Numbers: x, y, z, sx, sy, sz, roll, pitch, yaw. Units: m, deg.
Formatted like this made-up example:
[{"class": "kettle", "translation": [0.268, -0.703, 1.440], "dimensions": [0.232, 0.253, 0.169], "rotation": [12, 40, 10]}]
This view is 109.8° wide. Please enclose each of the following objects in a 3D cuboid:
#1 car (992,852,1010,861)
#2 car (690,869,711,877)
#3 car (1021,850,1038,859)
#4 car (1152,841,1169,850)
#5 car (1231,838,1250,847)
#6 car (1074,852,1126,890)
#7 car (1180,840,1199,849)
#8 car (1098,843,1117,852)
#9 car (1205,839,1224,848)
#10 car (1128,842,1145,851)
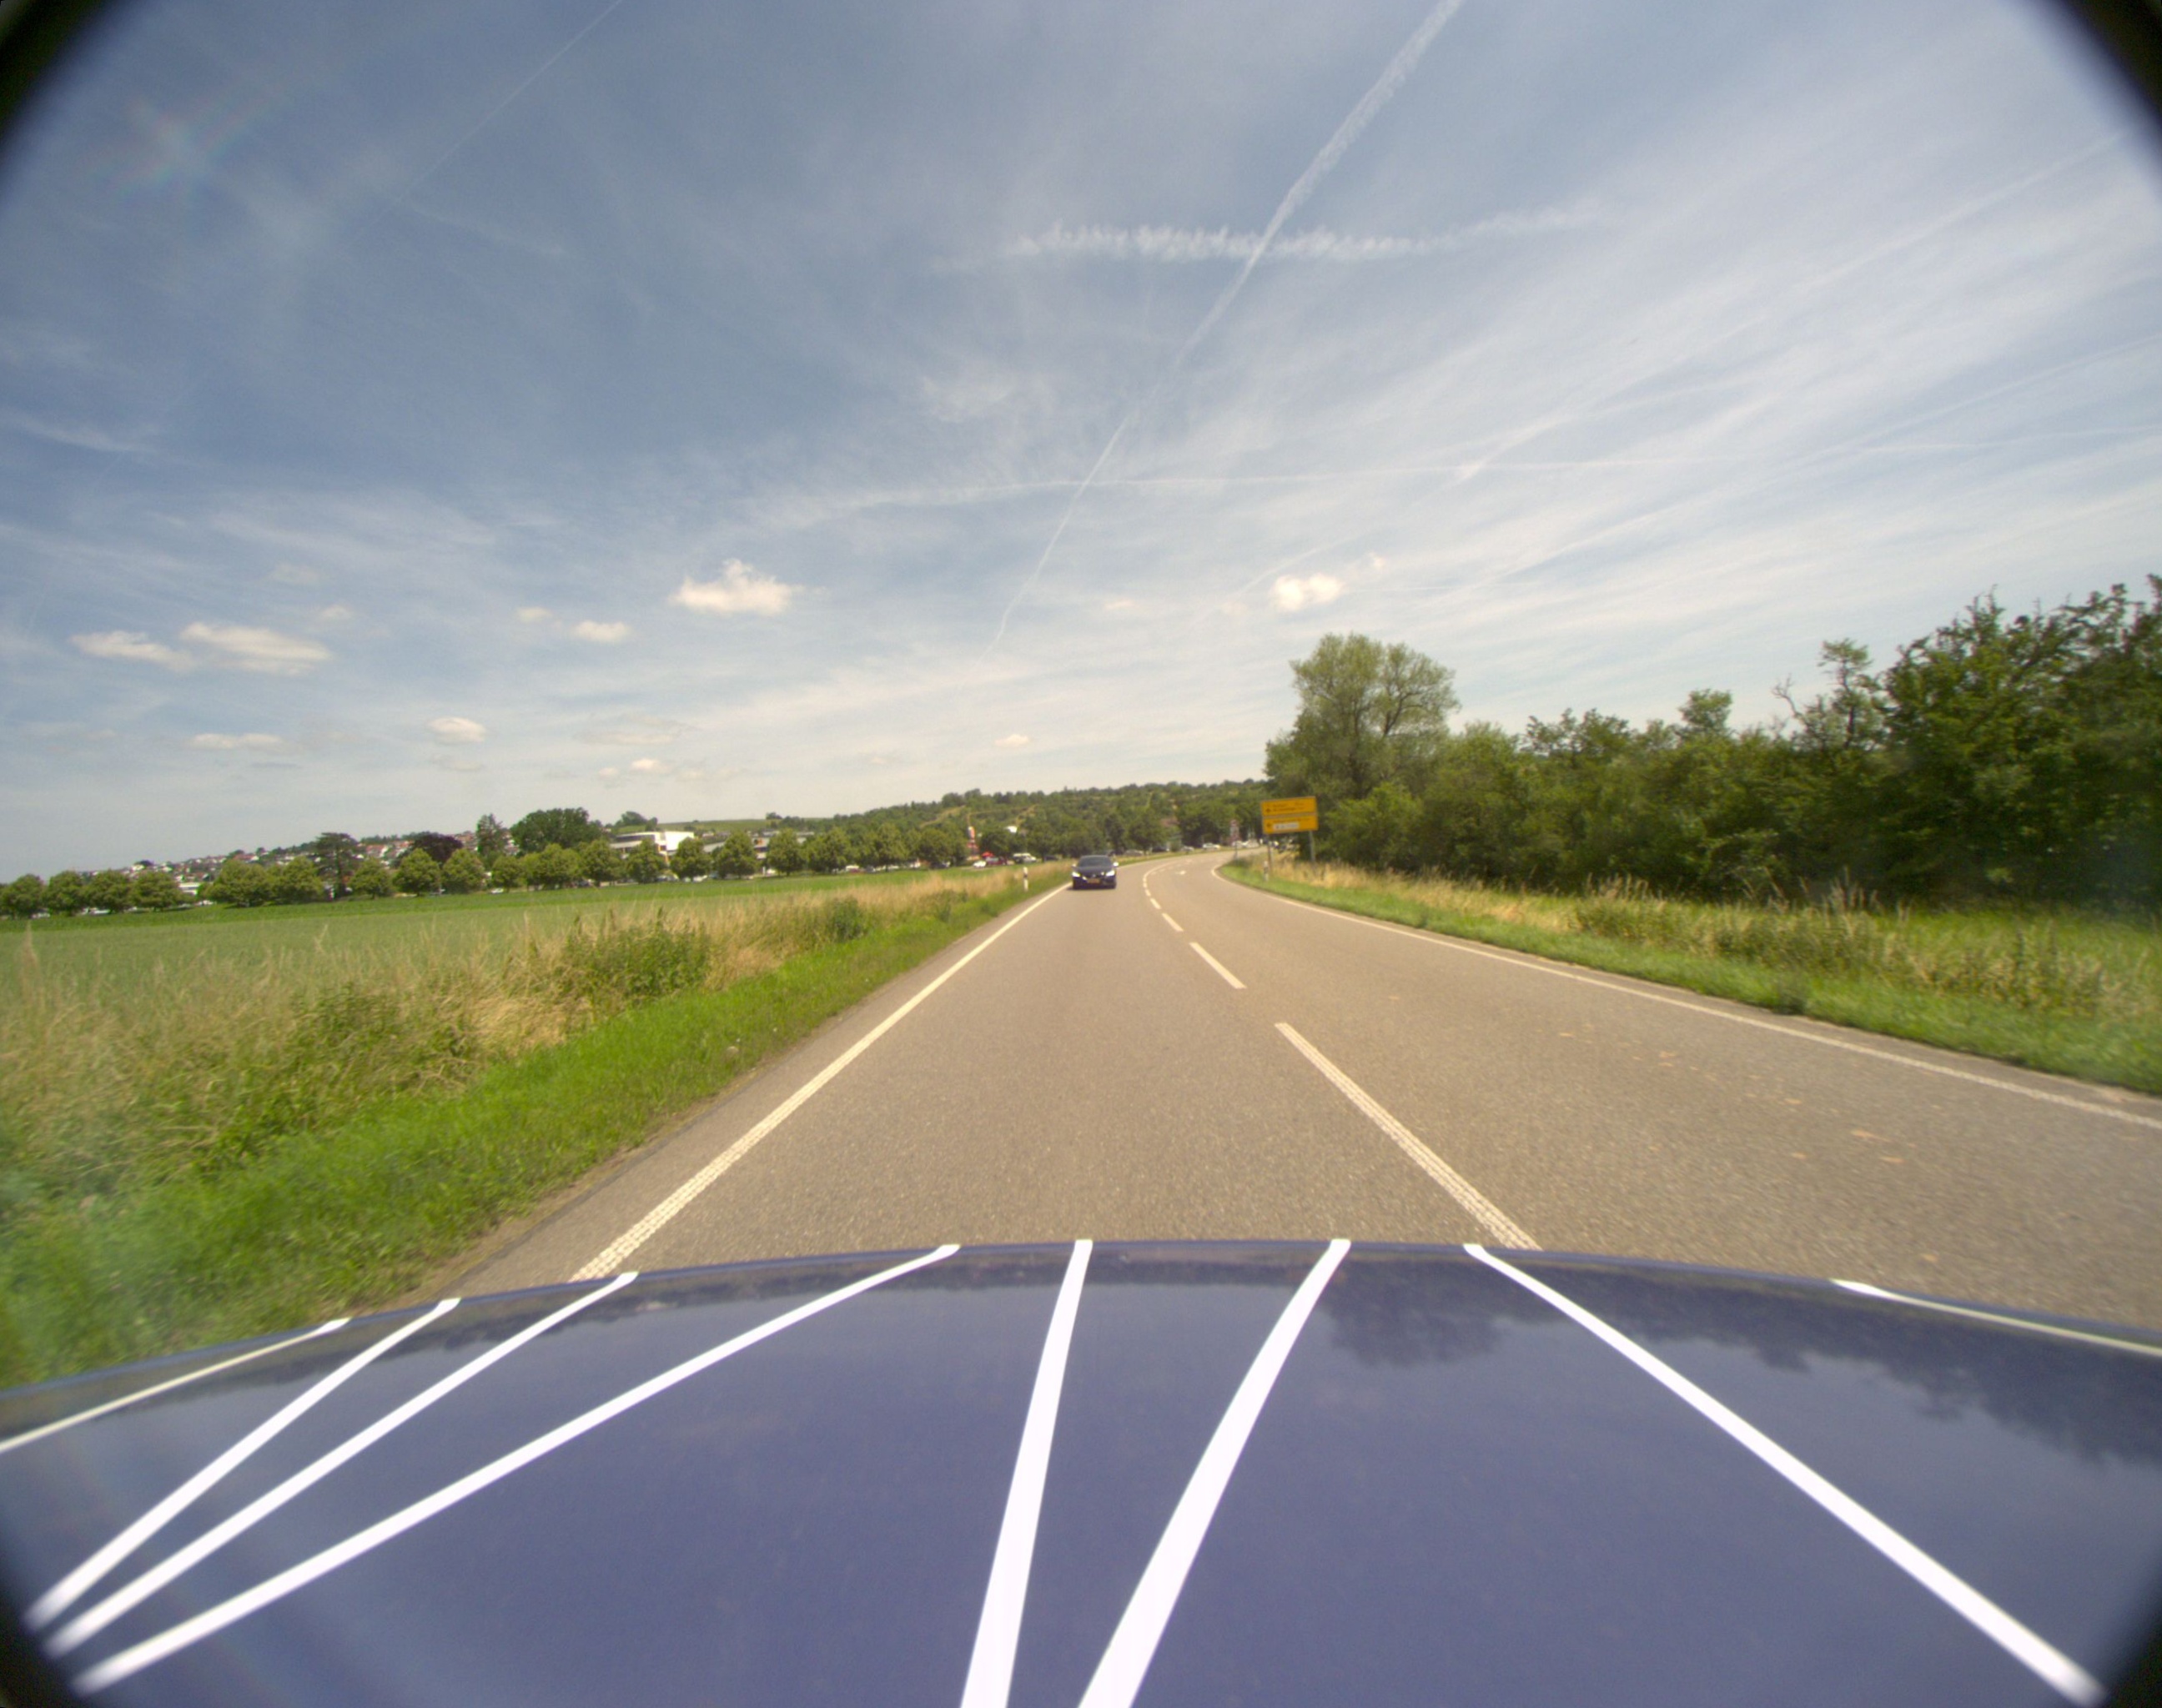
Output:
[{"class": "car", "translation": [-19.980, 0.576, 189.747], "dimensions": [4.469, 2.002, 1.887], "rotation": [-2, 1, -4]}, {"class": "car", "translation": [-99.315, 4.926, 198.145], "dimensions": [4.468, 2.002, 1.887], "rotation": [-2, 1, 0]}, {"class": "car", "translation": [-12.858, 0.120, 189.768], "dimensions": [3.998, 2.002, 1.887], "rotation": [-2, 1, -2]}, {"class": "car", "translation": [19.559, -2.037, 186.199], "dimensions": [3.994, 2.002, 1.888], "rotation": [-2, 1, 8]}, {"class": "car", "translation": [37.290, -2.598, 177.459], "dimensions": [3.989, 2.002, 1.891], "rotation": [-1, 1, 30]}, {"class": "car", "translation": [0.884, 0.667, 32.888], "dimensions": [1.784, 1.440, 4.606], "rotation": [-2, 1, 7]}, {"class": "car", "translation": [26.205, -2.267, 183.544], "dimensions": [3.990, 2.002, 1.891], "rotation": [-1, 1, 27]}, {"class": "car", "translation": [6.465, -1.677, 186.920], "dimensions": [4.467, 2.002, 1.887], "rotation": [-2, 1, 1]}, {"class": "car", "translation": [31.660, -2.394, 180.406], "dimensions": [3.989, 2.002, 1.891], "rotation": [-1, 1, 30]}, {"class": "car", "translation": [13.617, -1.918, 187.107], "dimensions": [3.994, 2.002, 1.888], "rotation": [-2, 1, 8]}]
